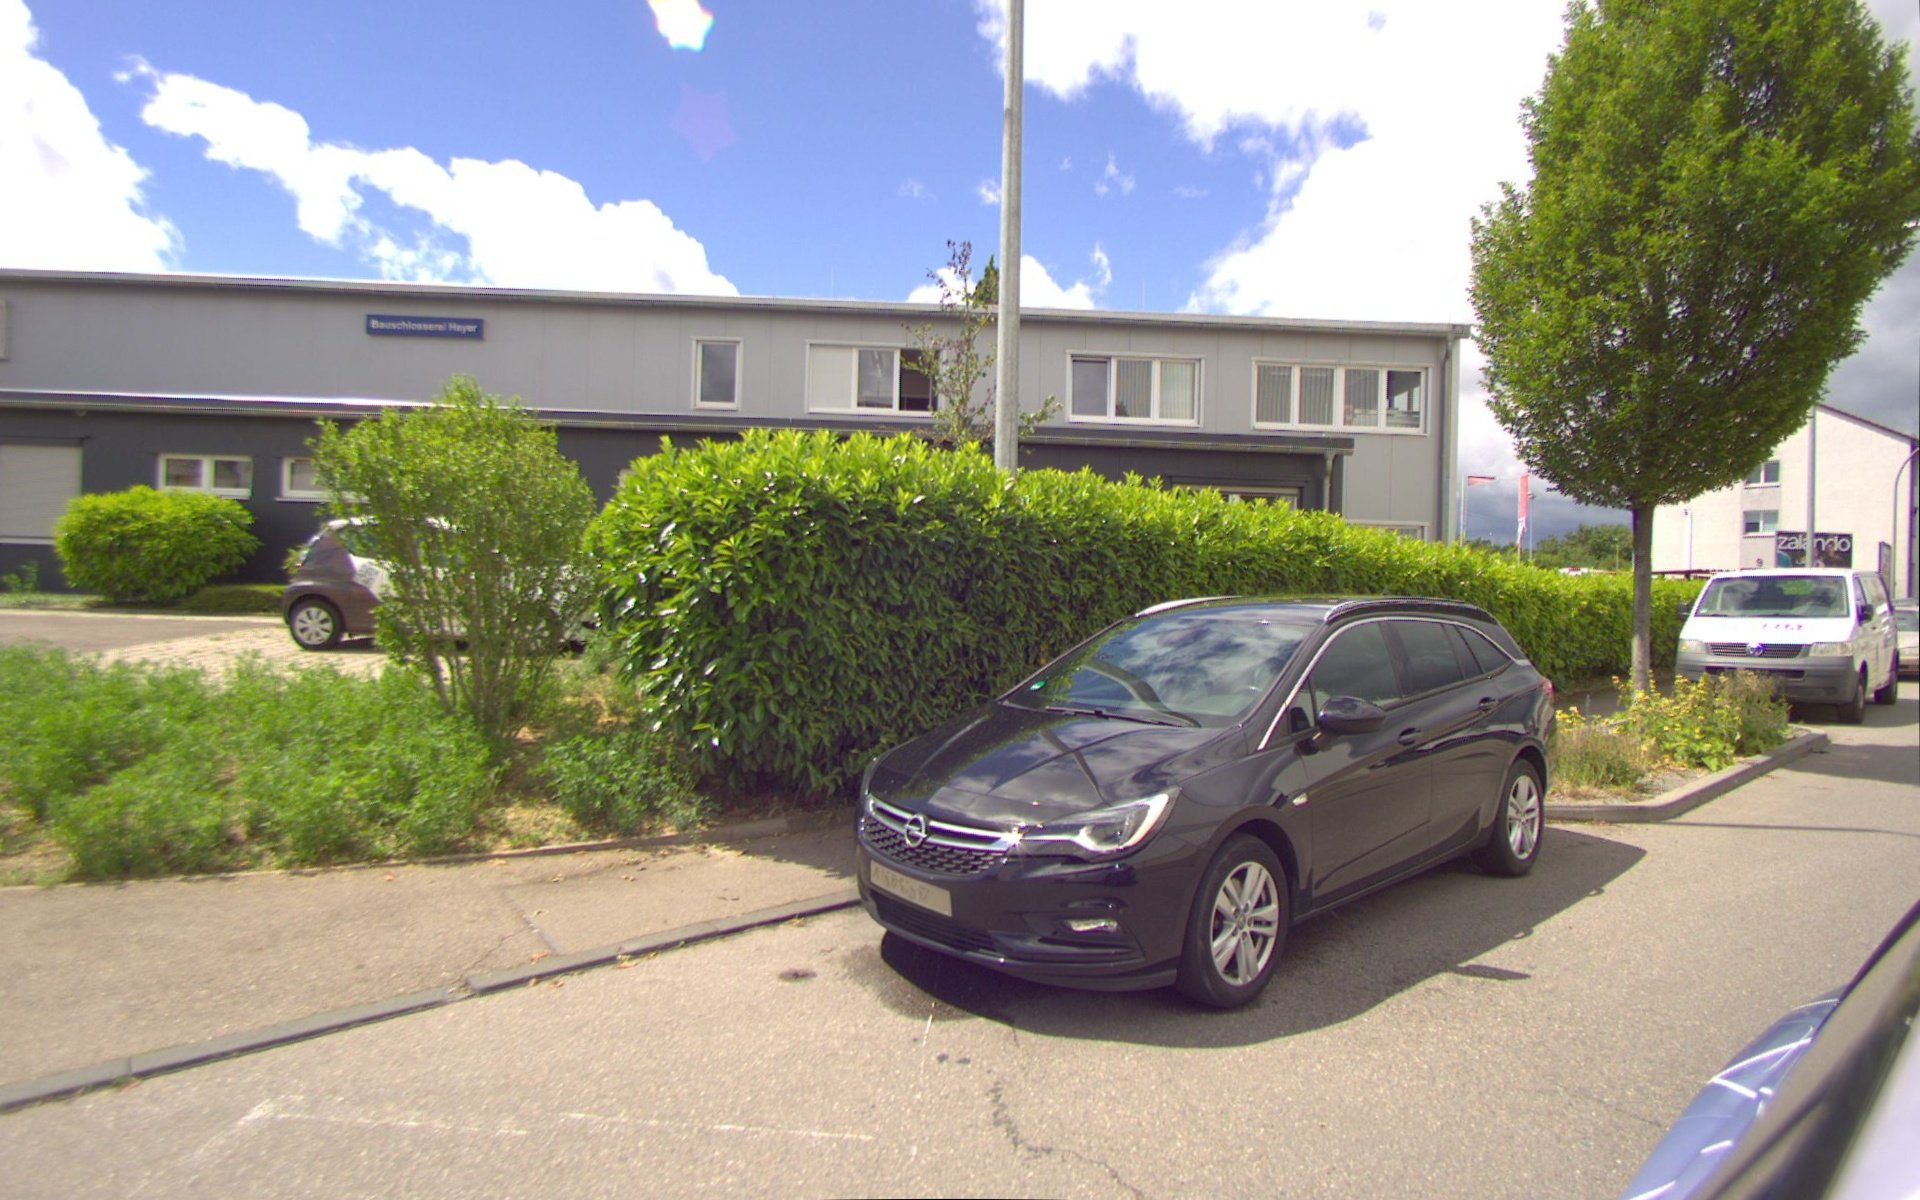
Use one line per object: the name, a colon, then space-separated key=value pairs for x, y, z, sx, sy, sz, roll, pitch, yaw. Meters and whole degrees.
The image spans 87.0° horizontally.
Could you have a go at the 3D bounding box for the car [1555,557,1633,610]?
car: x=35.371 y=-0.969 z=56.401 sx=5.362 sy=2.802 sz=2.280 roll=-3 pitch=2 yaw=-41

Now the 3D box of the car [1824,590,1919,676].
car: x=19.000 y=0.591 z=20.452 sx=4.651 sy=1.559 sz=1.658 roll=-1 pitch=1 yaw=-41

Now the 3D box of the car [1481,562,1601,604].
car: x=36.331 y=-1.076 z=63.428 sx=2.238 sy=2.481 sz=6.168 roll=-2 pitch=2 yaw=-44

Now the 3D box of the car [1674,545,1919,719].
car: x=11.788 y=0.332 z=14.068 sx=5.053 sy=2.015 sz=1.873 roll=-1 pitch=1 yaw=-41

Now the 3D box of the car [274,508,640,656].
car: x=-5.543 y=-0.226 z=11.454 sx=3.354 sy=1.465 sz=1.584 roll=2 pitch=3 yaw=-2

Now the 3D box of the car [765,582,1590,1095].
car: x=1.406 y=0.667 z=5.061 sx=4.432 sy=1.492 sz=1.717 roll=-1 pitch=1 yaw=-41

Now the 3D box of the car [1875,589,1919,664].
car: x=22.973 y=0.570 z=23.691 sx=4.048 sy=1.658 sz=1.683 roll=0 pitch=1 yaw=-39
